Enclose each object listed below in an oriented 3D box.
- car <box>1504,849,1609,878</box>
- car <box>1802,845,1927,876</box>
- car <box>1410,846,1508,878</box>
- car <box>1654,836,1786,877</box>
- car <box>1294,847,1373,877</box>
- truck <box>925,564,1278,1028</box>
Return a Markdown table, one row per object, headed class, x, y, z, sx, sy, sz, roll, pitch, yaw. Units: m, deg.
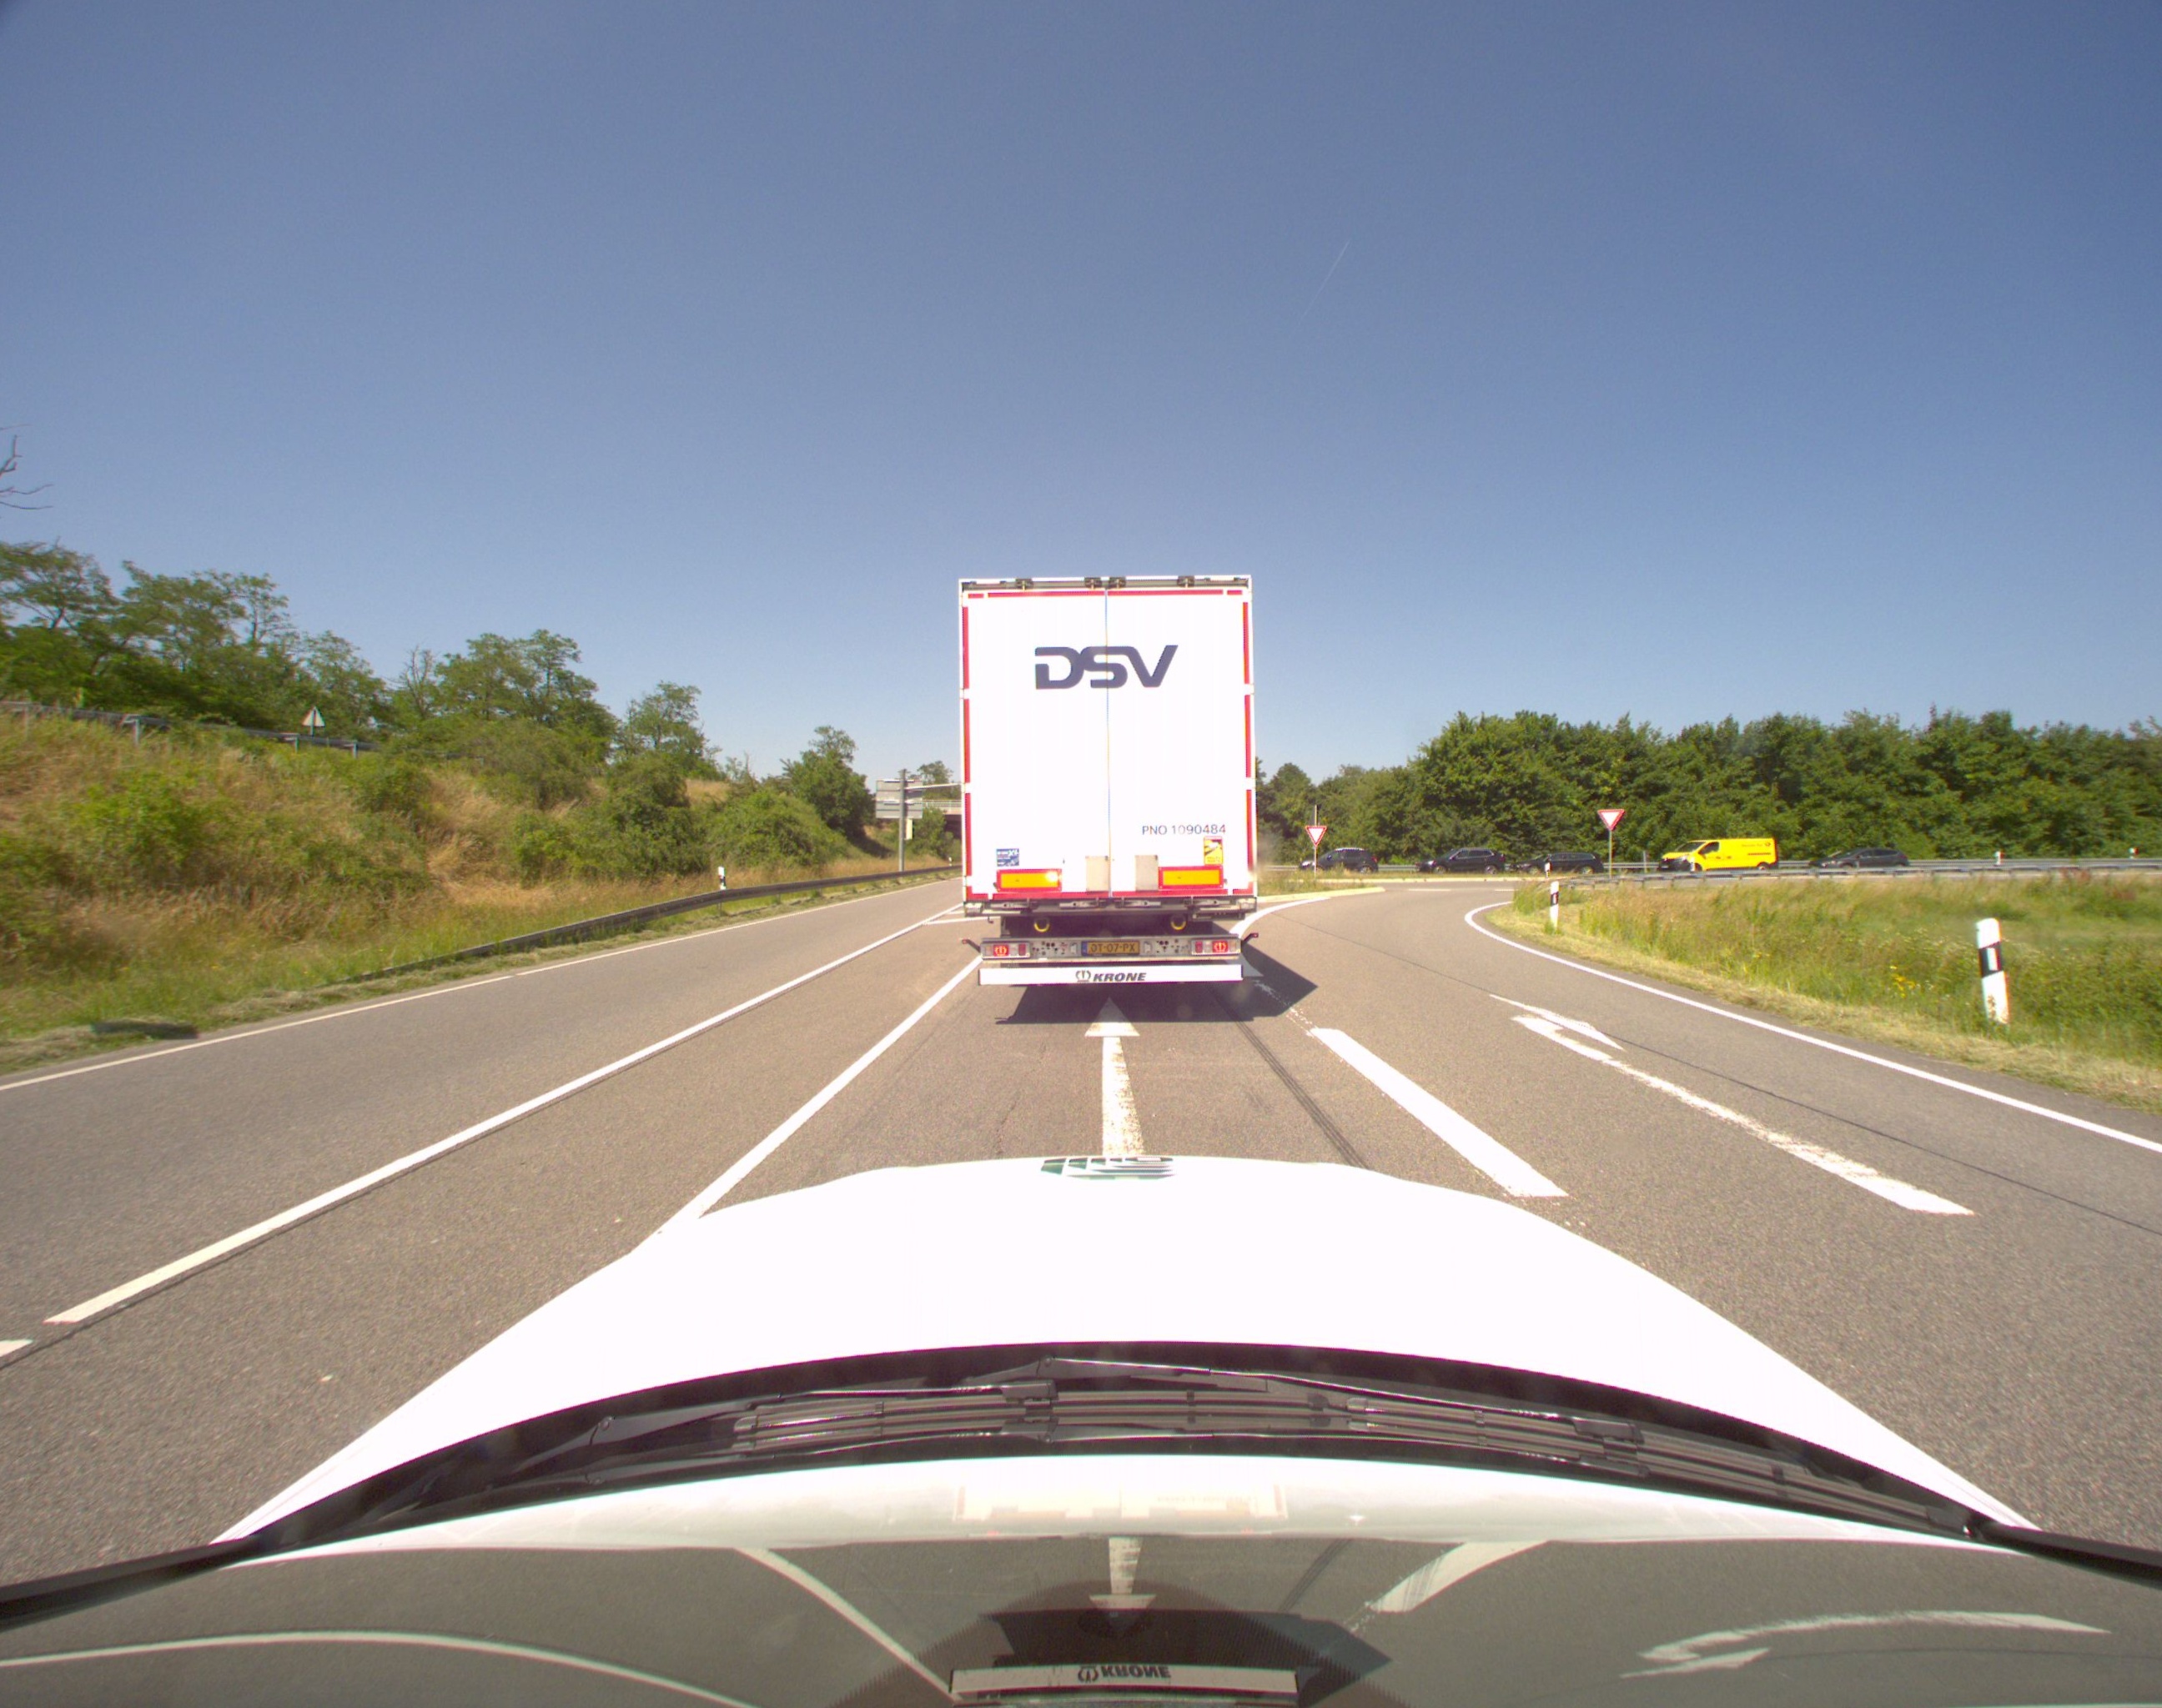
| class | x | y | z | sx | sy | sz | roll | pitch | yaw |
| --- | --- | --- | --- | --- | --- | --- | --- | --- | --- |
| car | 26.192 | 0.510 | 44.971 | 4.655 | 1.514 | 1.858 | -1 | -1 | 8 |
| car | 41.186 | 0.348 | 42.886 | 4.662 | 1.514 | 1.855 | -1 | -1 | 3 |
| car | 20.228 | 0.438 | 43.719 | 4.466 | 1.598 | 1.769 | -1 | -1 | 4 |
| car | 33.639 | 0.136 | 42.997 | 5.300 | 2.014 | 2.001 | -1 | -1 | 2 |
| car | 14.173 | 0.459 | 45.900 | 3.964 | 1.640 | 1.845 | -1 | -1 | 7 |
| truck | 0.286 | -0.476 | 11.916 | 2.977 | 3.942 | 9.877 | -1 | 0 | 1 |
